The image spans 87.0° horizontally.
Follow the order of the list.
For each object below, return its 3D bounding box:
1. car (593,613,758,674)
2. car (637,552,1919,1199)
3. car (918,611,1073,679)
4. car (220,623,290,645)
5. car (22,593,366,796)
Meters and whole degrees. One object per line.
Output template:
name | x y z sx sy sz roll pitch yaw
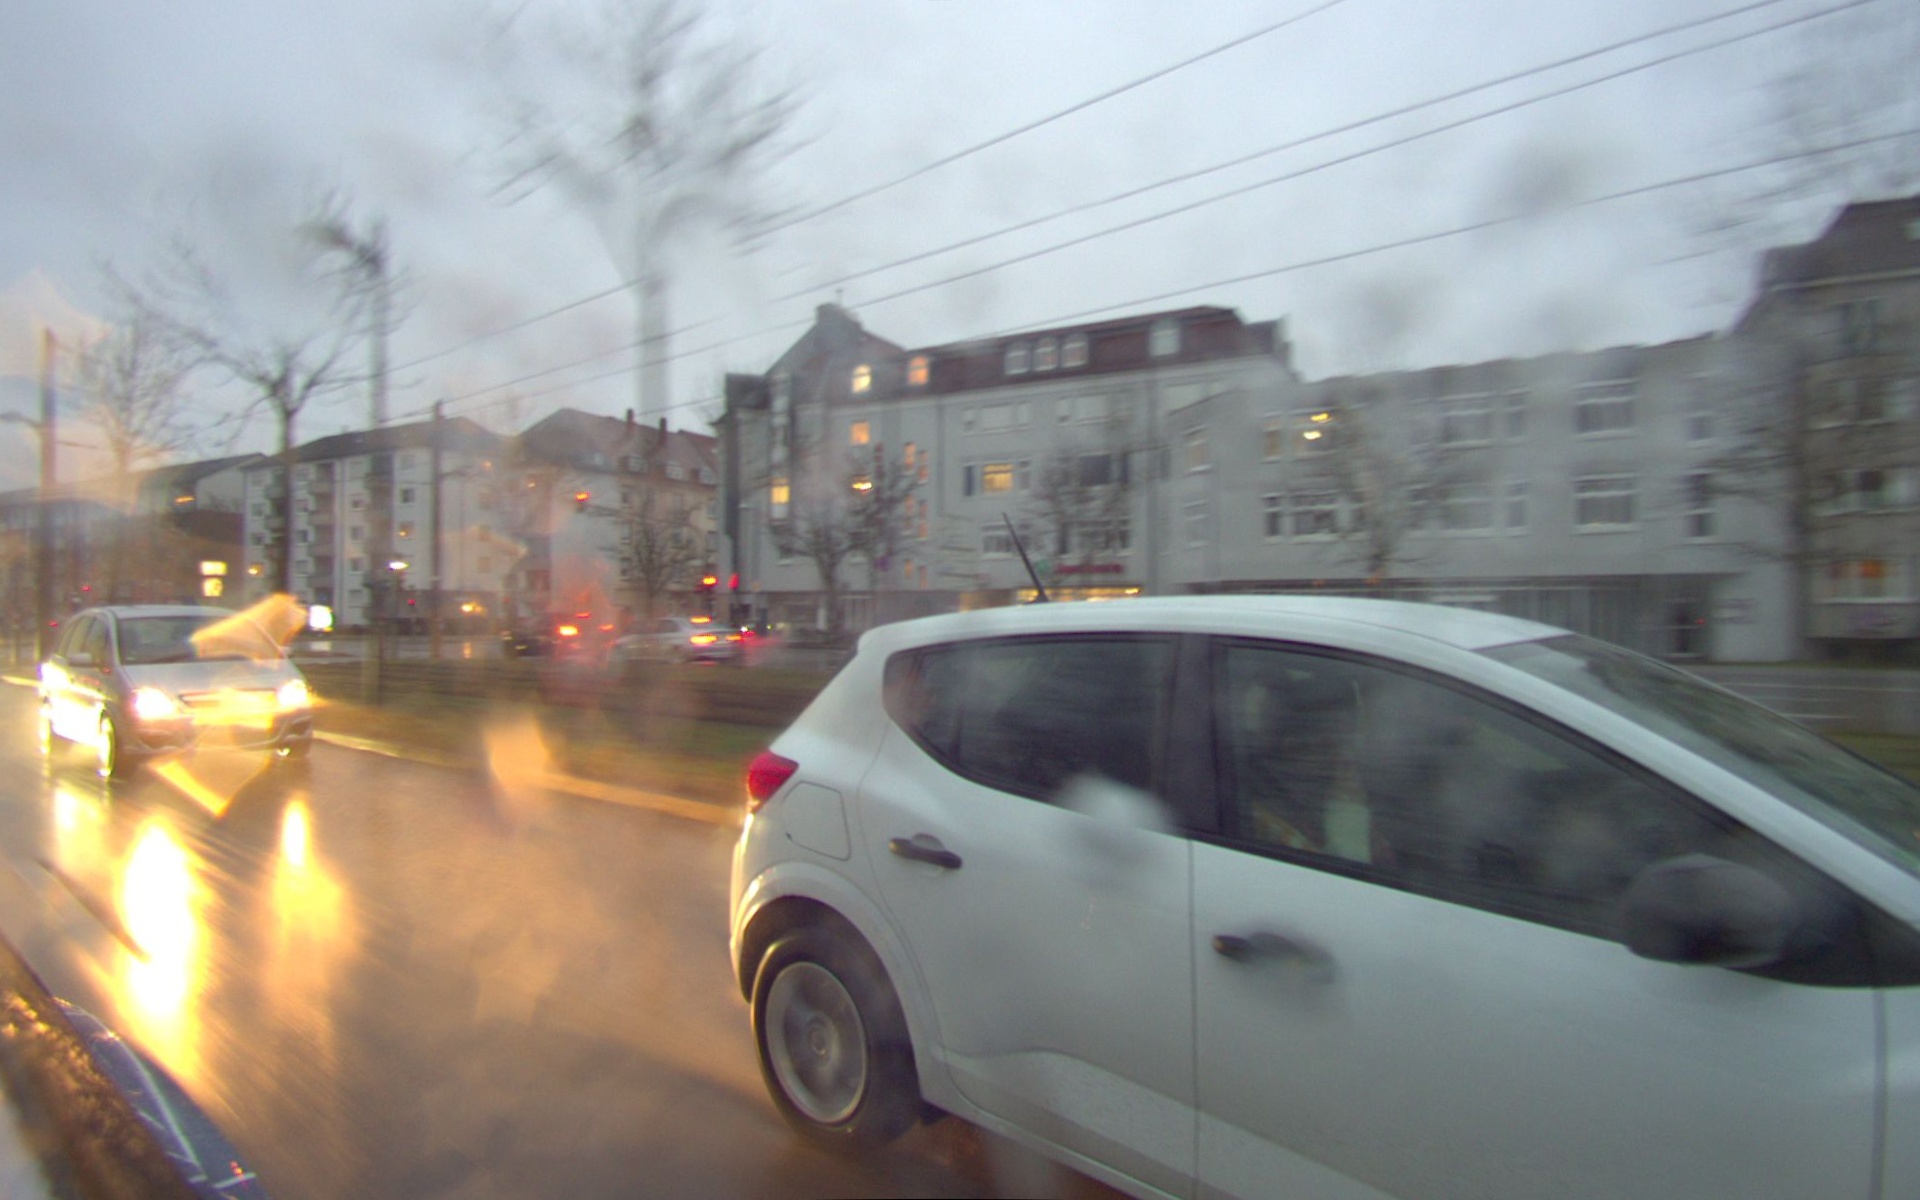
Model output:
car | -8.288 1.204 29.323 4.912 1.540 1.577 1 1 29
car | 1.038 0.666 2.467 3.999 1.477 1.690 1 1 42
car | 0.931 1.218 27.912 3.993 1.741 1.790 -2 -2 37
car | -50.257 2.371 72.175 1.688 1.377 3.779 0 1 24
car | -8.109 0.786 10.609 3.996 1.689 1.996 1 1 39
